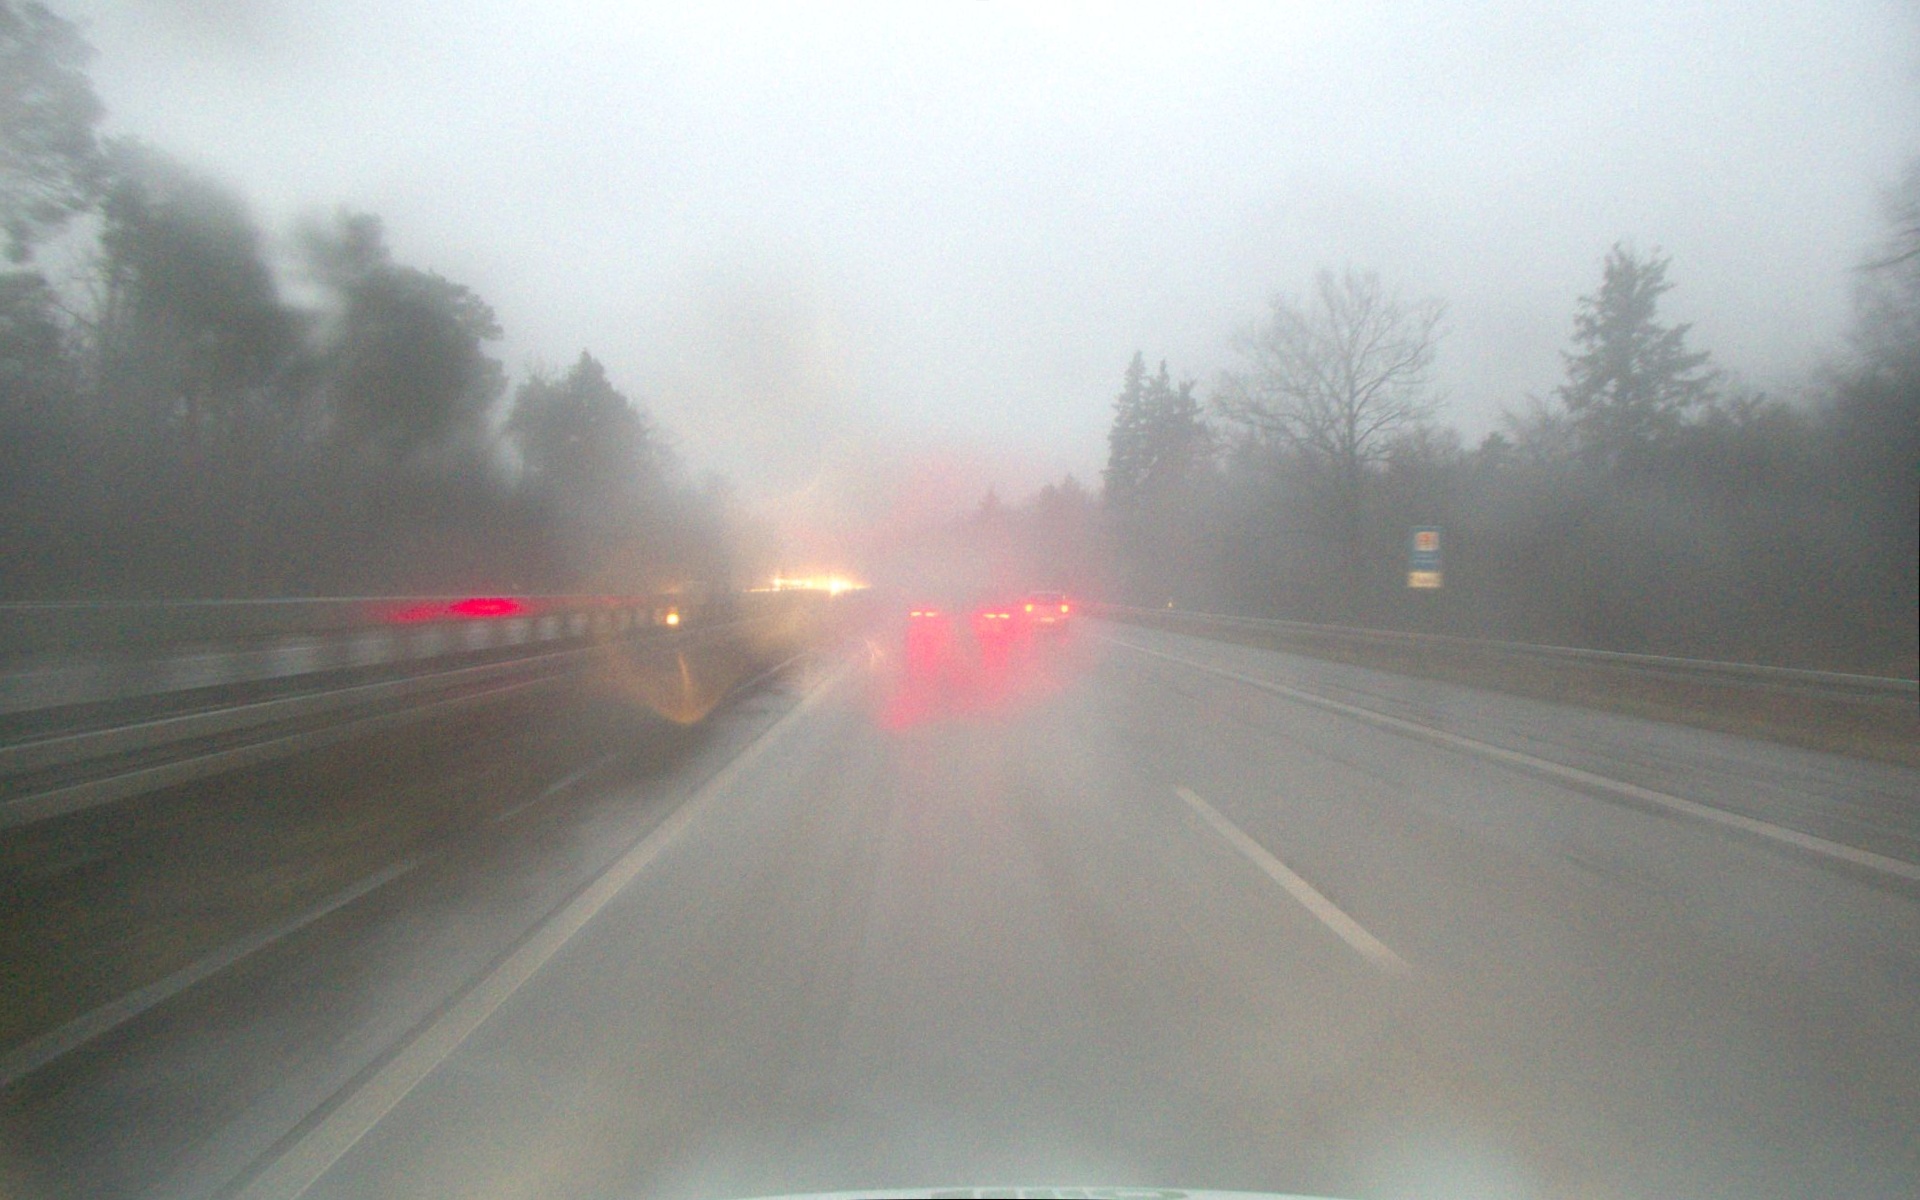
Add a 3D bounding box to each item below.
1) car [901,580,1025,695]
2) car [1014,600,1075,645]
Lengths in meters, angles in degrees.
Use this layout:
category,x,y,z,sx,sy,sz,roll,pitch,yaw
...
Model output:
category,x,y,z,sx,sy,sz,roll,pitch,yaw
car,0.005,0.579,28.412,1.946,1.798,4.172,1,0,-1
car,2.924,0.774,57.864,1.744,1.462,3.535,1,0,-3
